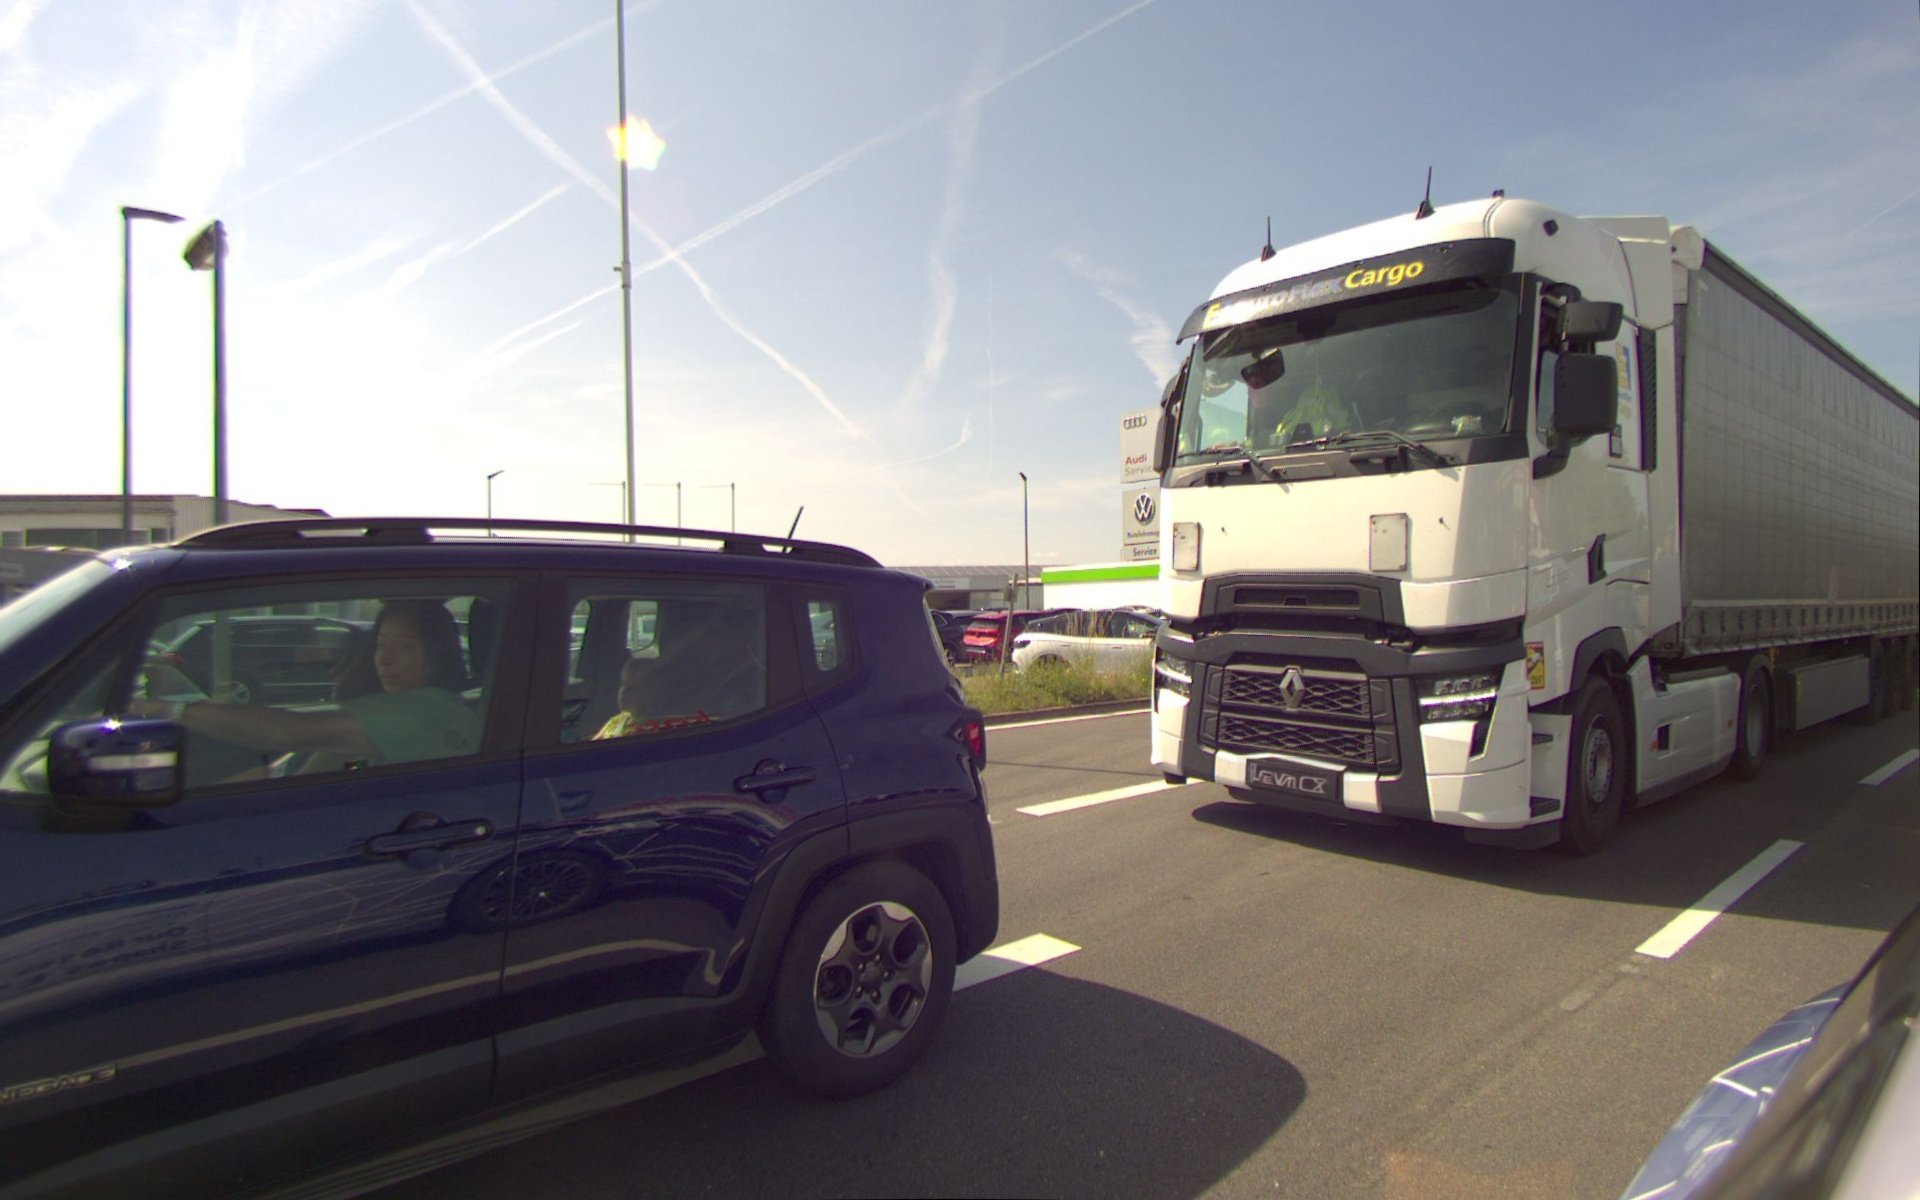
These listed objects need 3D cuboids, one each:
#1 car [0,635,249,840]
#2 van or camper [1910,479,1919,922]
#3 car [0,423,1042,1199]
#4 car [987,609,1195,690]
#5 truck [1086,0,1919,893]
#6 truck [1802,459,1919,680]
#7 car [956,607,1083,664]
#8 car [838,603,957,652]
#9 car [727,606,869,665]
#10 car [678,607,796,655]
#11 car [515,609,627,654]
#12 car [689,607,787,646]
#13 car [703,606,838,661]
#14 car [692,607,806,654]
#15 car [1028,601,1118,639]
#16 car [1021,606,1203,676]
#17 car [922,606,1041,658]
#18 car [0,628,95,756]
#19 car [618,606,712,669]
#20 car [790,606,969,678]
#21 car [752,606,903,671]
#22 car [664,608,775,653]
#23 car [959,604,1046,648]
[{"bbox_3d":[-8.517,1.052,8.851,3.983,1.420,1.729,0,0,18],"label":"car"},{"bbox_3d":[7.041,0.461,5.535,5.195,2.039,1.998,0,0,-39],"label":"van or camper"},{"bbox_3d":[-1.802,0.540,2.758,3.930,1.706,1.822,0,1,-41],"label":"car"},{"bbox_3d":[2.505,0.883,19.343,3.623,1.420,1.725,0,0,24],"label":"car"},{"bbox_3d":[8.128,-0.819,11.137,16.409,4.320,2.896,0,0,-39],"label":"truck"},{"bbox_3d":[20.952,-0.559,21.202,10.938,3.859,2.886,0,0,-38],"label":"truck"},{"bbox_3d":[1.750,0.975,29.185,3.530,1.426,1.562,-1,2,-39],"label":"car"},{"bbox_3d":[-2.172,0.919,35.739,3.894,1.638,1.709,0,0,-36],"label":"car"},{"bbox_3d":[-4.859,1.010,30.528,3.895,1.638,1.708,0,0,-37],"label":"car"},{"bbox_3d":[-8.201,1.105,37.325,3.895,1.638,1.708,0,0,-37],"label":"car"},{"bbox_3d":[-15.959,1.256,41.740,4.143,1.777,1.911,0,-1,-14],"label":"car"},{"bbox_3d":[-9.799,1.123,44.817,3.895,1.638,1.708,0,0,-37],"label":"car"},{"bbox_3d":[-6.018,1.019,32.312,3.895,1.638,1.708,0,0,-37],"label":"car"},{"bbox_3d":[-7.249,1.004,34.852,3.530,1.426,1.562,-1,2,-39],"label":"car"},{"bbox_3d":[5.032,0.864,44.719,3.930,1.594,1.787,0,0,-41],"label":"car"},{"bbox_3d":[3.311,0.845,22.006,3.623,1.420,1.725,0,0,24],"label":"car"},{"bbox_3d":[0.701,0.948,31.421,3.530,1.426,1.562,-1,2,-39],"label":"car"},{"bbox_3d":[-15.151,1.343,14.494,4.157,1.777,1.905,0,-1,-40],"label":"car"},{"bbox_3d":[-8.482,1.010,28.907,1.959,1.638,4.006,0,0,-26],"label":"car"},{"bbox_3d":[-2.044,1.012,26.107,4.202,1.678,1.999,0,0,-37],"label":"car"},{"bbox_3d":[-3.642,1.010,28.010,3.756,1.638,1.857,0,0,-37],"label":"car"},{"bbox_3d":[-9.355,1.152,39.493,3.895,1.638,1.708,0,0,-37],"label":"car"},{"bbox_3d":[1.698,1.029,41.471,1.721,1.672,3.651,0,-1,-35],"label":"car"}]
